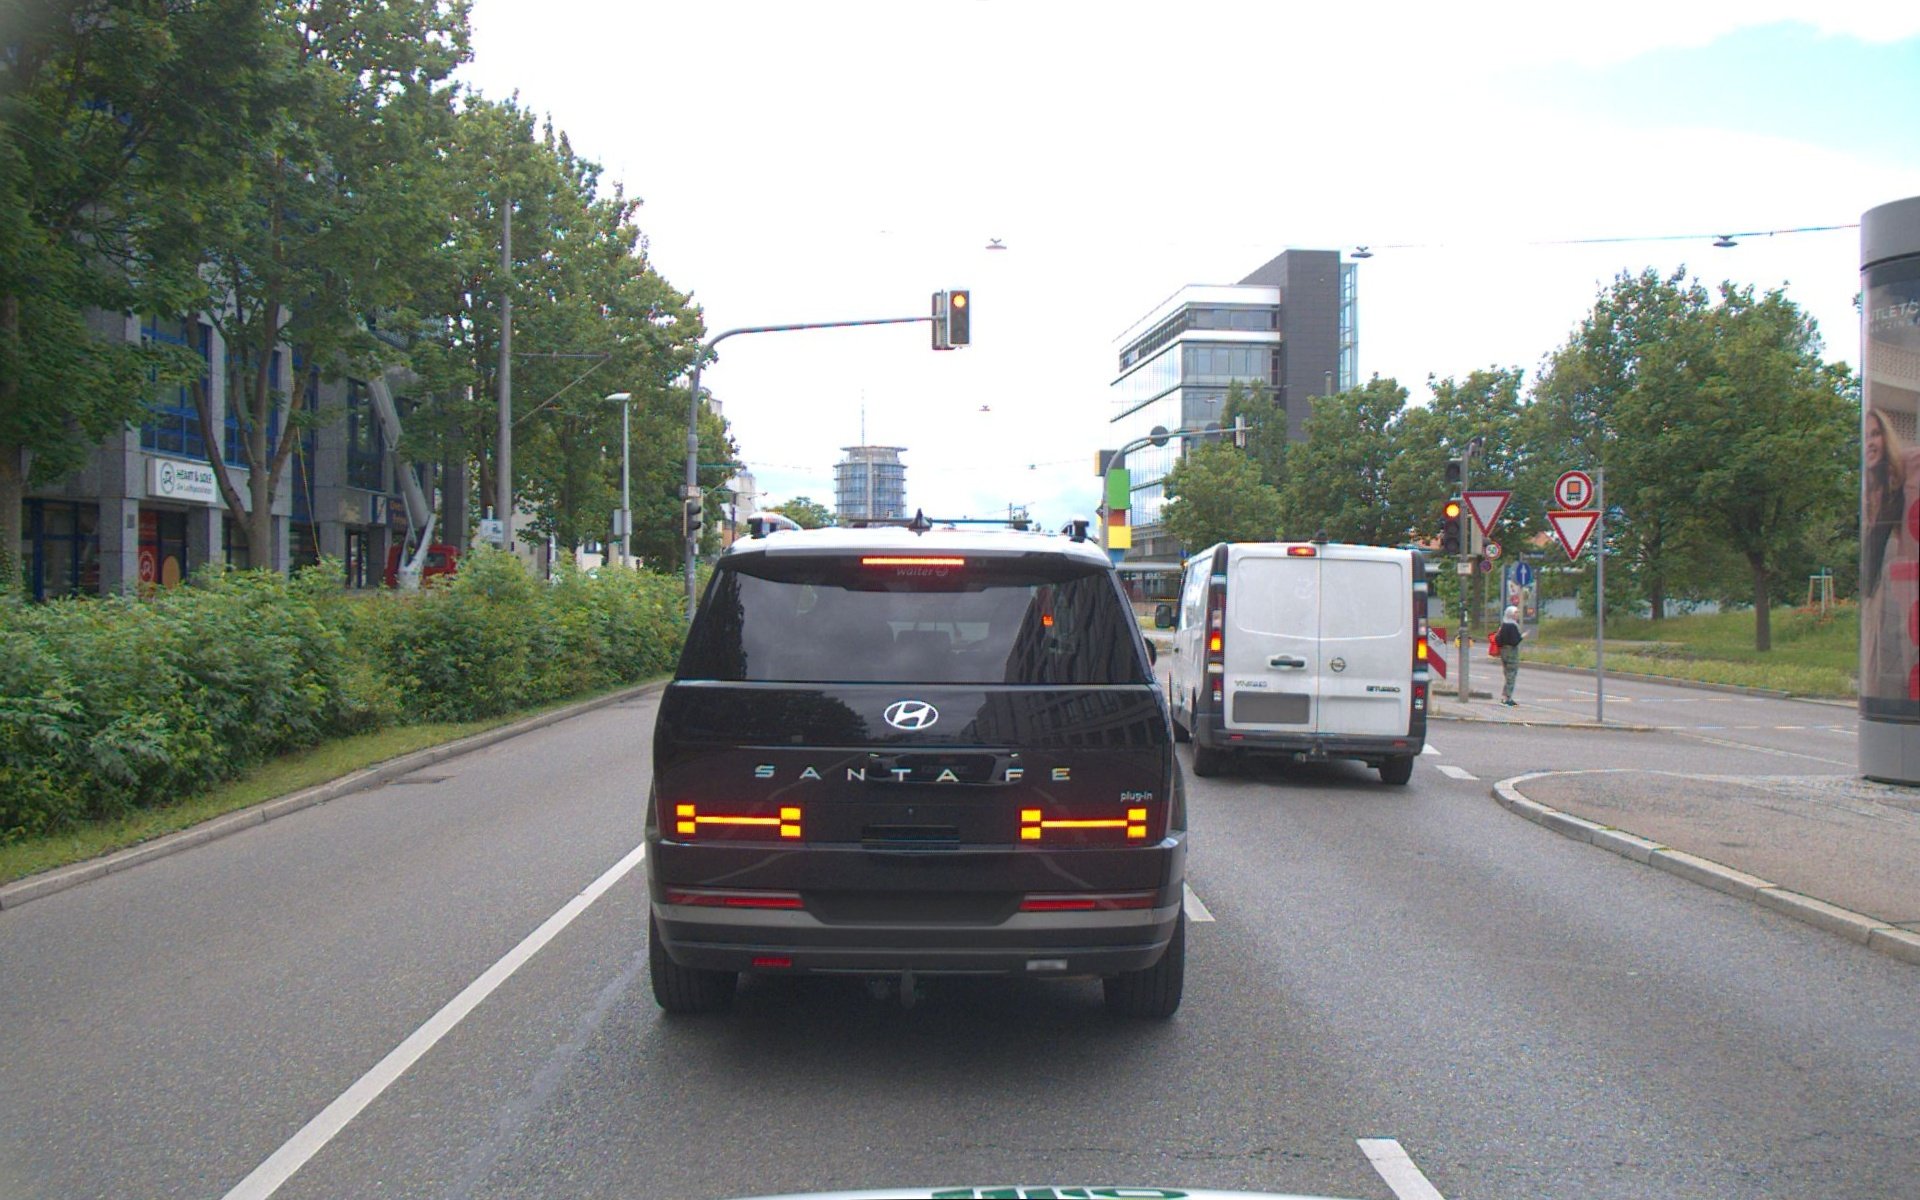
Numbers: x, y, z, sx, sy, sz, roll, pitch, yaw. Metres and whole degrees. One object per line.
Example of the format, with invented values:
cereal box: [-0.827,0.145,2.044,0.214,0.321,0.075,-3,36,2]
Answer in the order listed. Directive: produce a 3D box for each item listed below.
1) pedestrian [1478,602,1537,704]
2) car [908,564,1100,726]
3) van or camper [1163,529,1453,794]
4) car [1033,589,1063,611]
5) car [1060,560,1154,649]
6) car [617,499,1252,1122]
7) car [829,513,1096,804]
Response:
pedestrian: [8.869,0.853,26.796,0.733,1.612,0.565,2,0,-41]
car: [0.656,0.505,20.265,1.738,1.747,4.342,1,0,10]
van or camper: [3.012,0.467,15.307,1.952,2.049,4.655,1,0,4]
car: [7.002,-0.019,131.961,1.954,1.713,3.997,1,0,-3]
car: [3.554,0.113,40.590,1.952,2.049,4.000,1,0,0]
car: [-0.096,0.594,6.711,1.831,1.791,3.879,0,0,-1]
car: [-0.010,0.397,13.555,1.876,2.038,3.879,0,0,-1]
